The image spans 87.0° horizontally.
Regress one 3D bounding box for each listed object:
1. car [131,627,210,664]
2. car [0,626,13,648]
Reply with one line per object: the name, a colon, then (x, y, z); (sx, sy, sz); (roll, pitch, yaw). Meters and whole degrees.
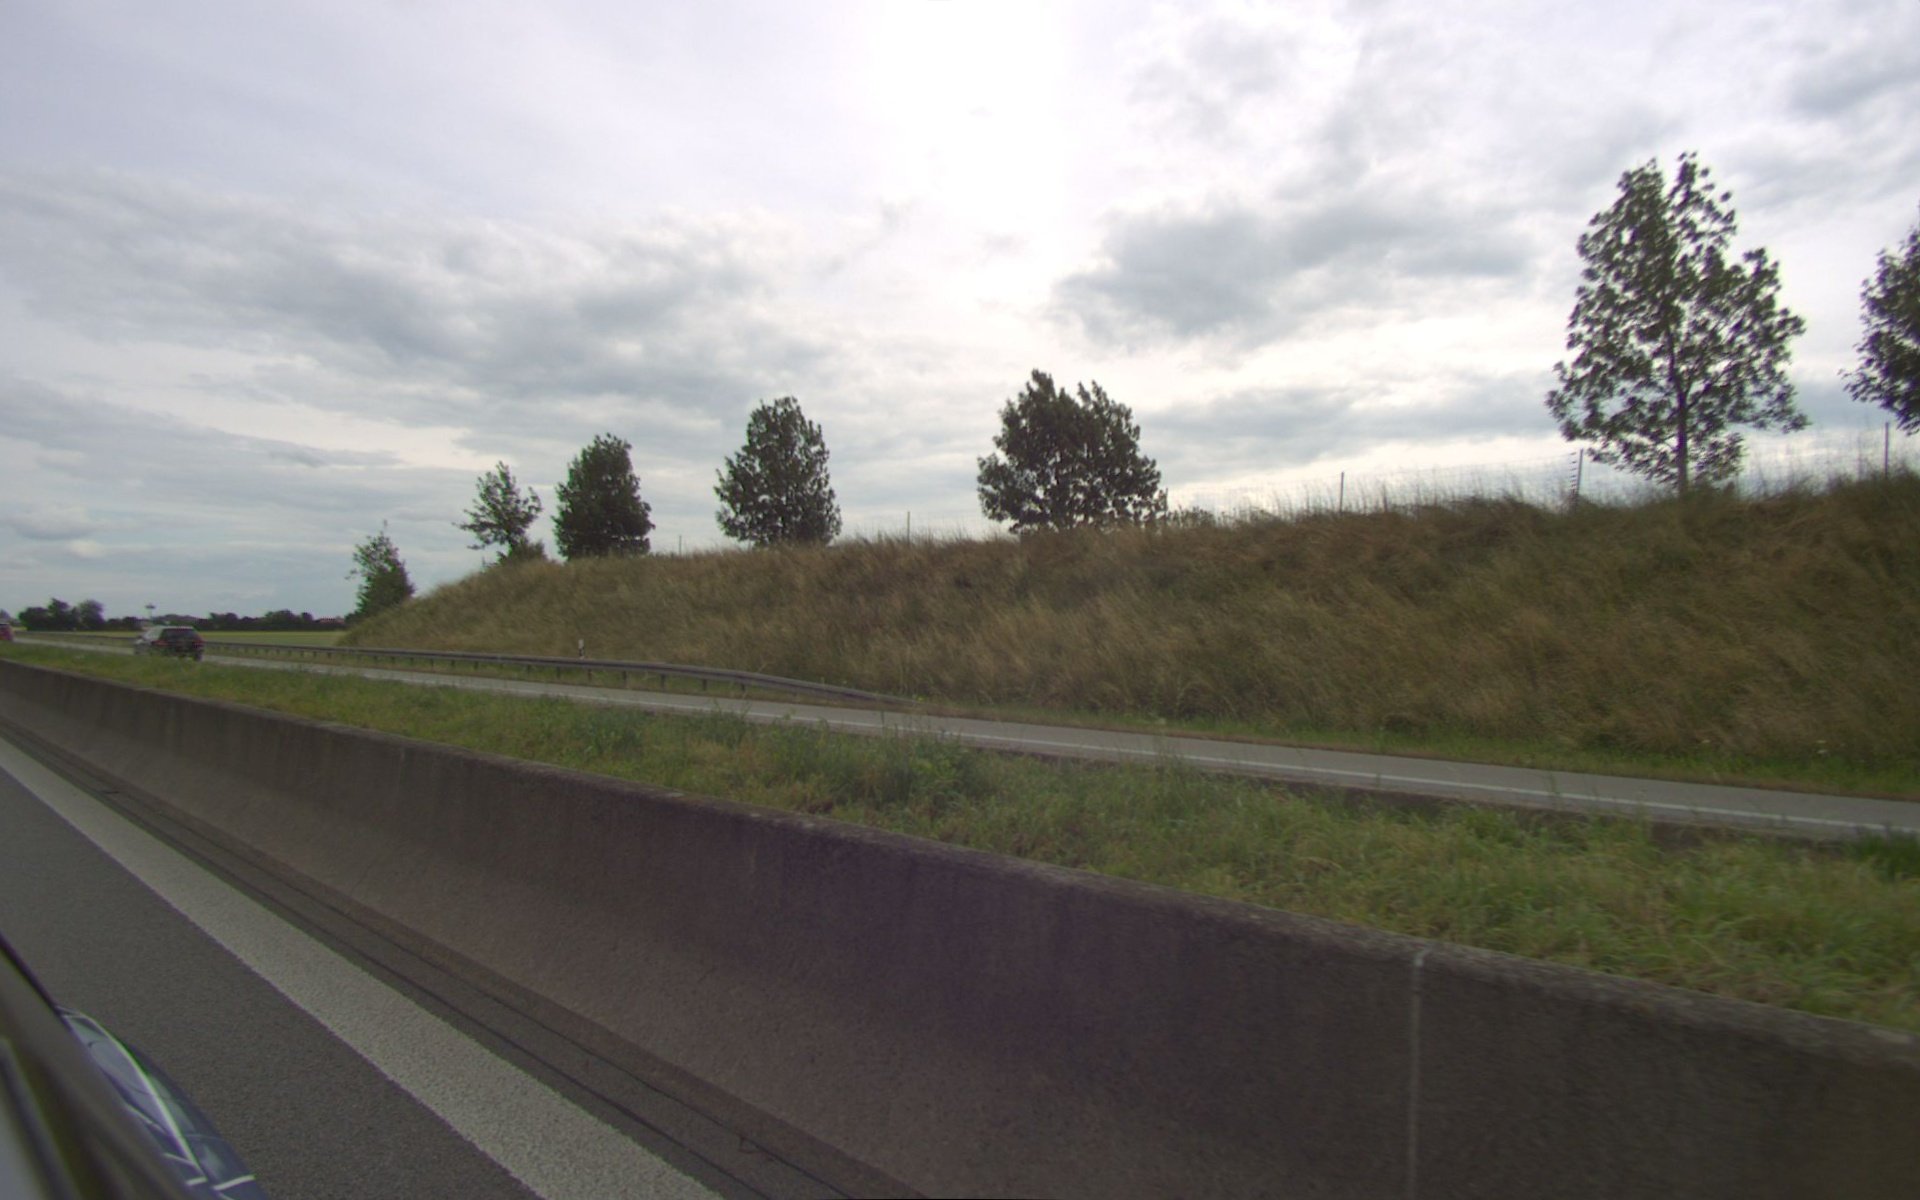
car: (-34.420, 1.951, 44.080); (4.578, 1.509, 1.826); (-1, -4, 41)
car: (-70.094, 2.669, 73.214); (4.359, 1.583, 1.826); (-1, -3, 41)
